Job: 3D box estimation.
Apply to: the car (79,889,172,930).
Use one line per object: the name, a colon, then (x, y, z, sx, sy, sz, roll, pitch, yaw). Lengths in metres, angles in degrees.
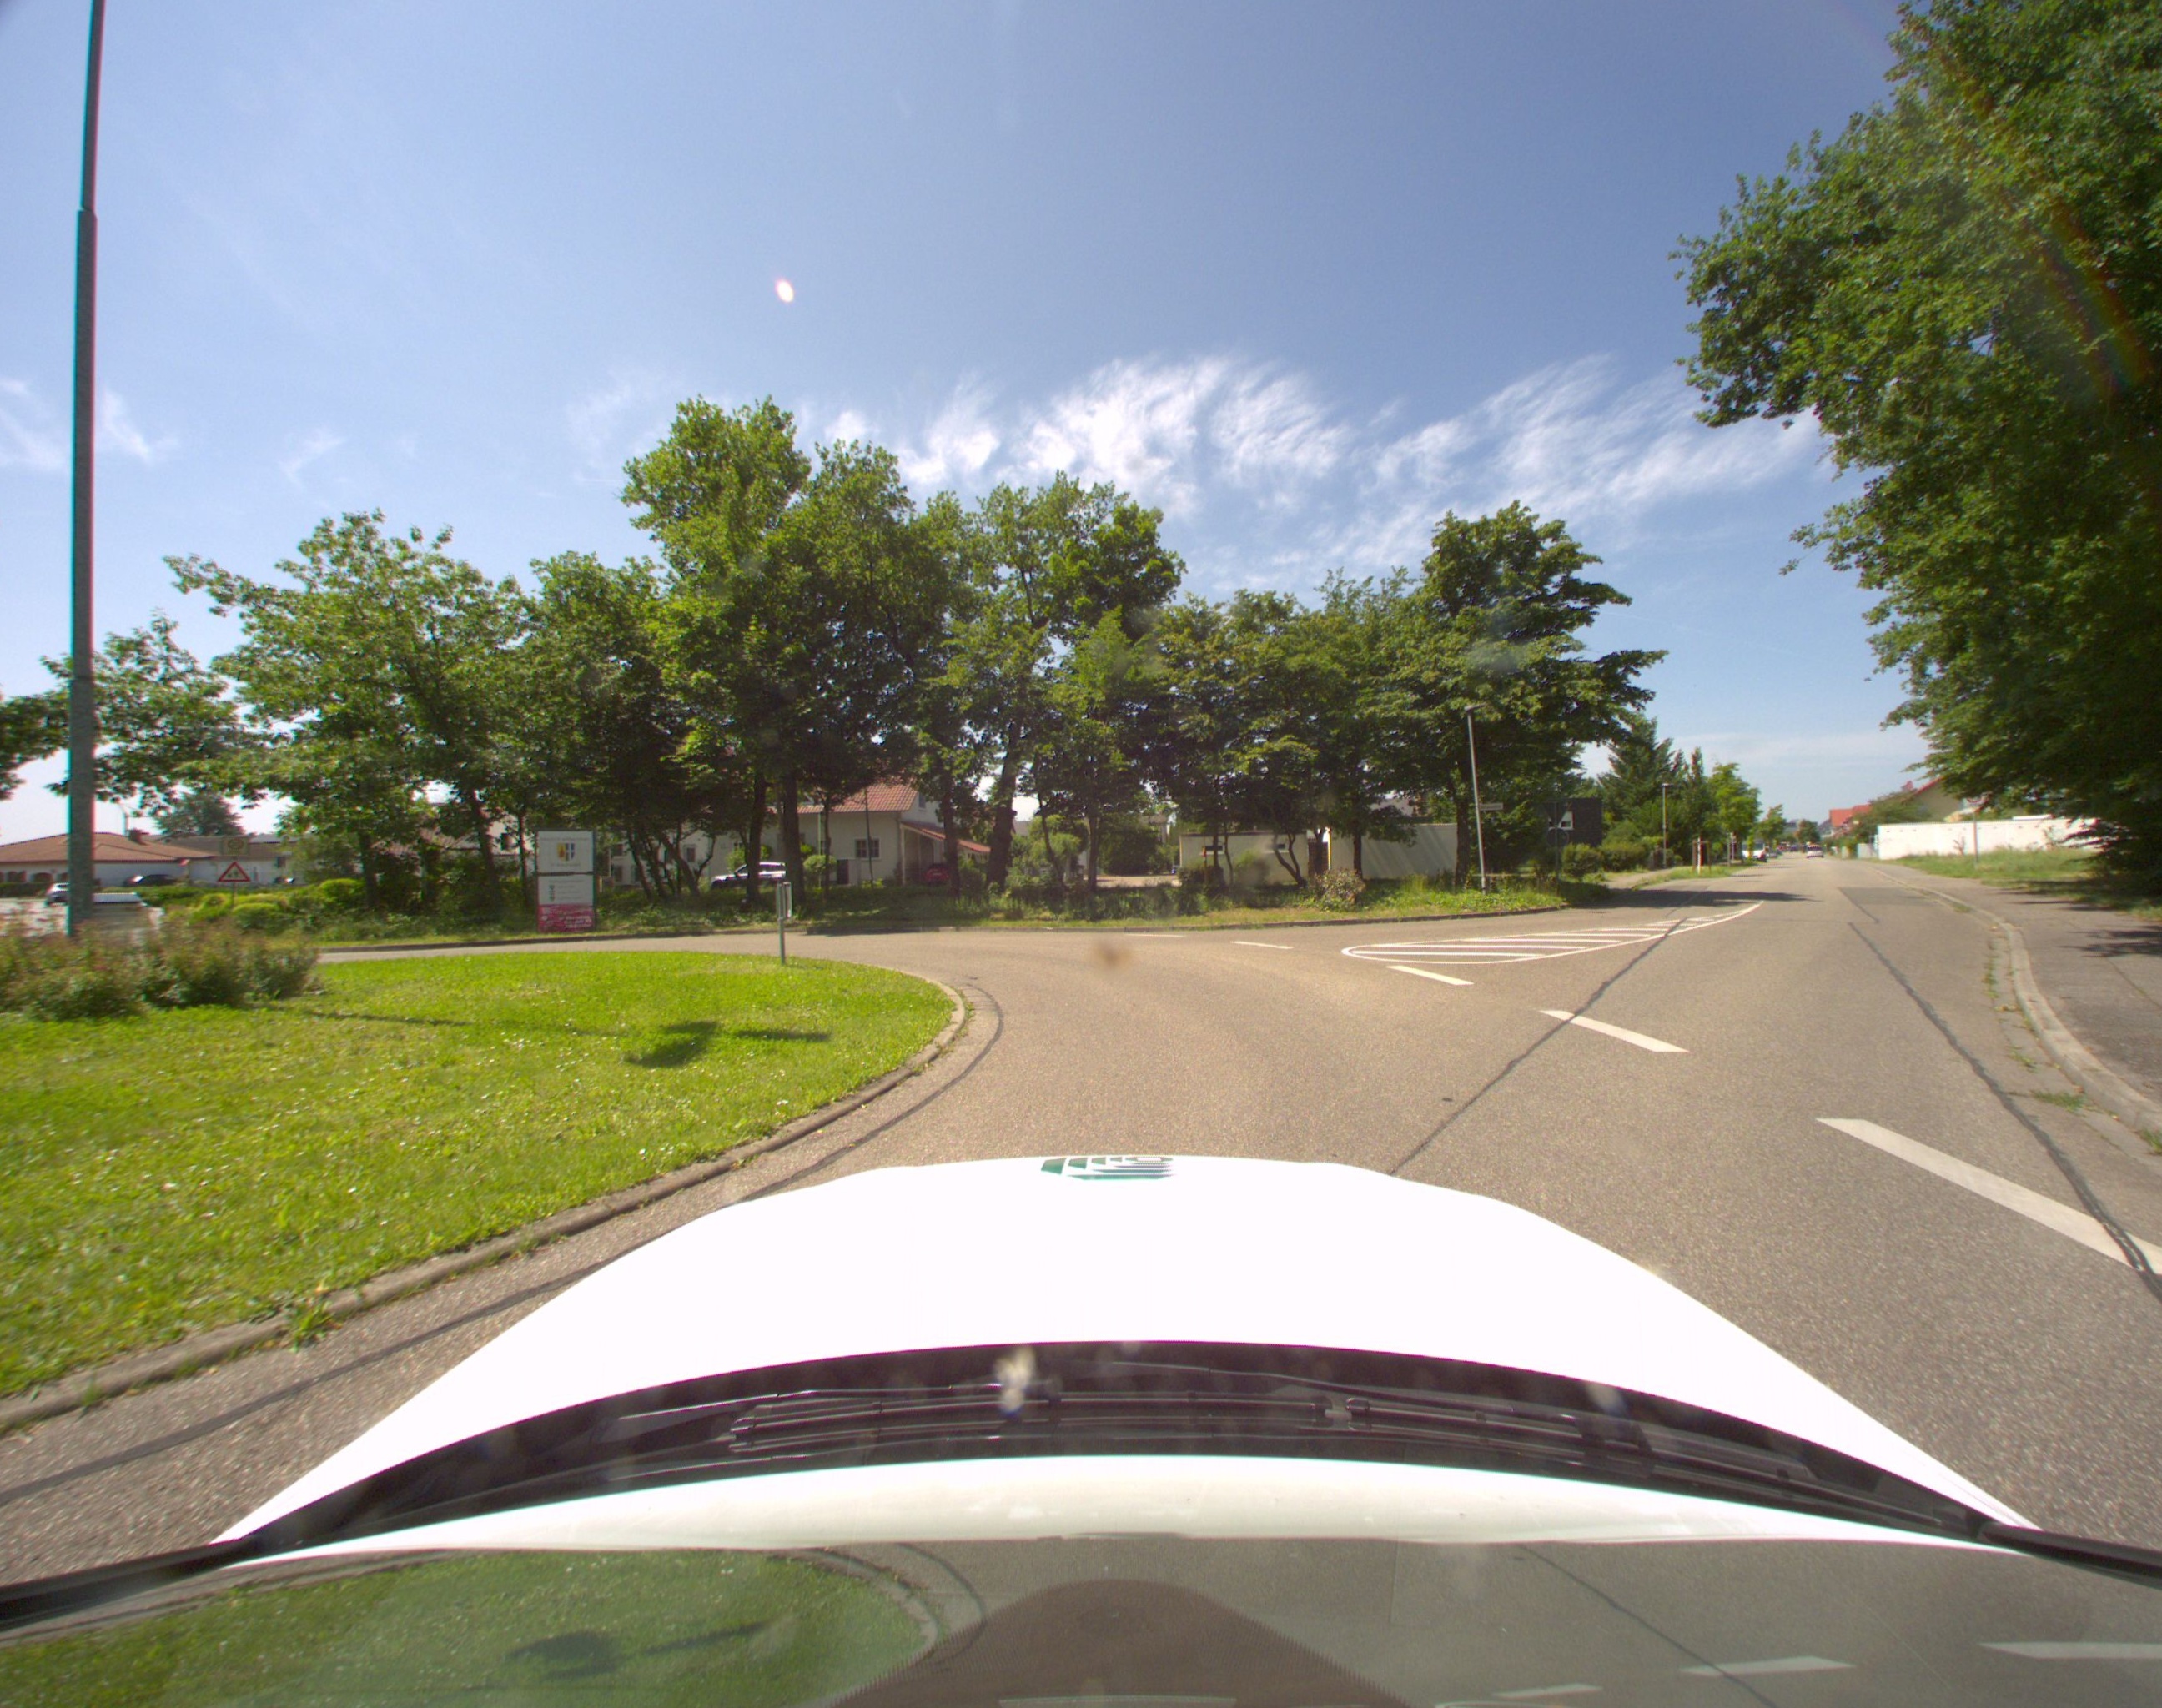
car: (-34.258, 1.938, 29.292, 1.628, 1.288, 3.514, -1, -1, -41)

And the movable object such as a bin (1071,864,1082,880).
movable object such as a bin: (-0.309, 1.261, 57.141, 0.654, 1.112, 0.457, -1, 0, 3)

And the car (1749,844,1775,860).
car: (70.408, -0.185, 84.191, 1.736, 1.480, 3.819, -2, -3, 36)

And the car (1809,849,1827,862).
car: (105.771, 0.249, 116.861, 1.819, 1.661, 4.024, -3, -3, 41)

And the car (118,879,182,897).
car: (-89.108, 3.253, 78.024, 1.846, 1.542, 3.828, -1, -1, -6)

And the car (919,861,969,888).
car: (-7.500, 1.108, 44.915, 1.670, 1.385, 3.702, -1, 0, 8)

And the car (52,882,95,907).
car: (-66.459, 2.641, 53.686, 3.948, 1.486, 1.644, -1, 0, 37)

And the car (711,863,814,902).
car: (-14.787, 1.317, 37.904, 4.112, 1.705, 1.668, -1, -1, 3)

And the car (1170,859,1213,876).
car: (8.634, 1.069, 63.730, 3.254, 1.253, 1.575, -1, 0, 3)
